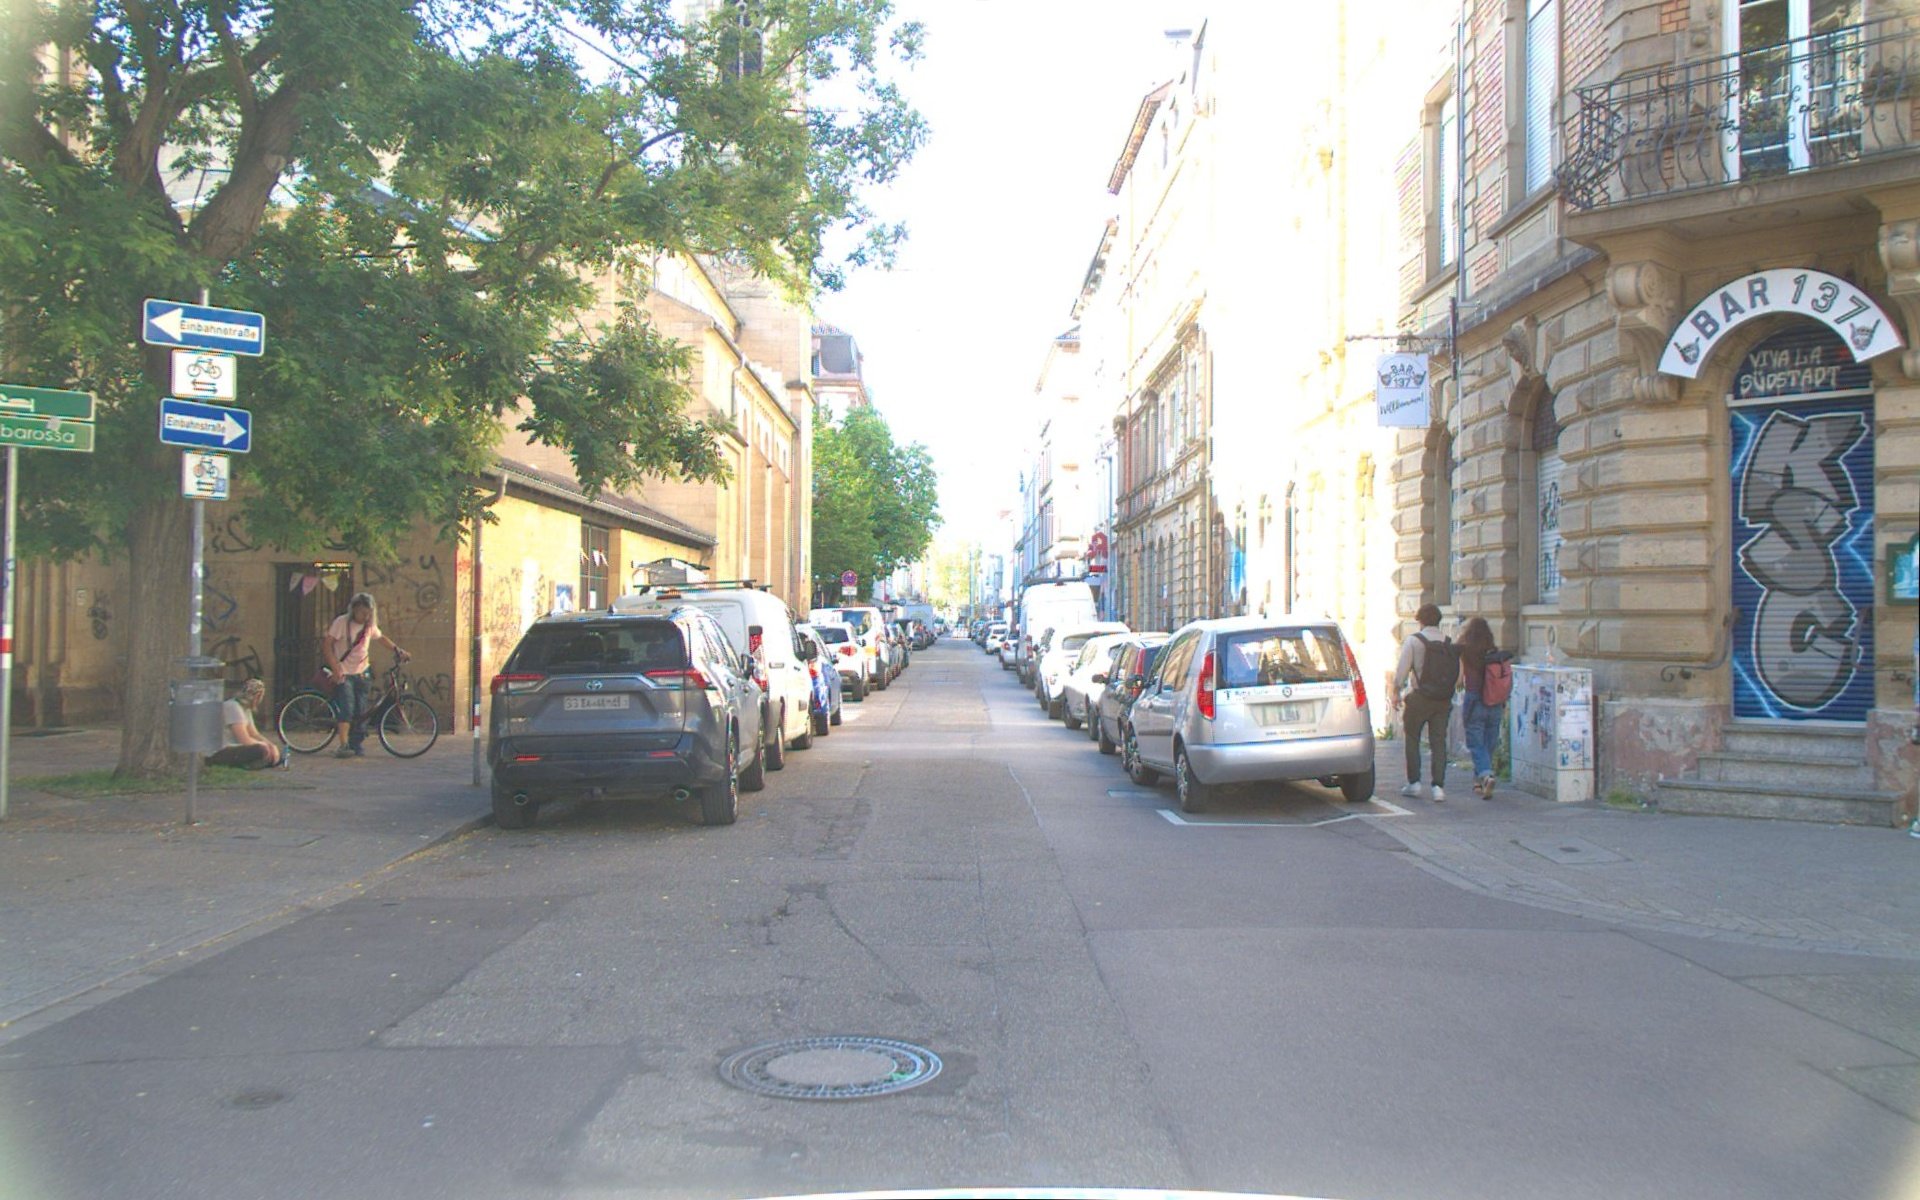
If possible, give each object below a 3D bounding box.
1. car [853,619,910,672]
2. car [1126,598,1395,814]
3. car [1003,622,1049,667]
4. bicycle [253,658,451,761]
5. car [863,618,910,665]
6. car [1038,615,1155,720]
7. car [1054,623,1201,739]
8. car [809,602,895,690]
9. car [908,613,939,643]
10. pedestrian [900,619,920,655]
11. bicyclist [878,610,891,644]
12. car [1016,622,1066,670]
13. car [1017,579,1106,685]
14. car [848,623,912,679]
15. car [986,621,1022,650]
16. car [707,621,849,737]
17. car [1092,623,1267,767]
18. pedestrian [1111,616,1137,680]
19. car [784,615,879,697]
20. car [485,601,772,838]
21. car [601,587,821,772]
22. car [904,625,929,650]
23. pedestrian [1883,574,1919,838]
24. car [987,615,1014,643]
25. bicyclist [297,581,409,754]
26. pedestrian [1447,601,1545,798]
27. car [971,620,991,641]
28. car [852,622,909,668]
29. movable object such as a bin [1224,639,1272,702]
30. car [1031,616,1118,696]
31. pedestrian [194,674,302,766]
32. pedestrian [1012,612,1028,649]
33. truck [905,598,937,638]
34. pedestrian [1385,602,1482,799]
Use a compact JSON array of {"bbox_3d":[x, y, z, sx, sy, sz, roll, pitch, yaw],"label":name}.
[{"bbox_3d":[-2.434,1.389,51.865,1.639,1.586,3.999,-1,-1,-1],"label":"car"},{"bbox_3d":[2.657,0.881,15.494,1.669,1.744,3.936,-1,-1,-2],"label":"car"},{"bbox_3d":[2.390,1.603,60.750,1.570,1.531,4.000,1,-1,1],"label":"car"},{"bbox_3d":[-6.391,1.136,17.427,1.724,0.939,0.827,3,-1,8],"label":"bicycle"},{"bbox_3d":[-2.728,1.528,61.949,1.567,1.642,3.807,-2,-1,-1],"label":"car"},{"bbox_3d":[2.399,1.178,30.040,1.770,1.719,4.214,2,-1,1],"label":"car"},{"bbox_3d":[2.473,1.172,25.246,1.541,1.552,3.905,2,-1,-4],"label":"car"},{"bbox_3d":[-2.608,1.096,40.876,1.826,1.991,4.609,-2,-1,-1],"label":"car"},{"bbox_3d":[-2.209,1.708,101.047,1.837,1.828,4.000,0,-1,0],"label":"car"},{"bbox_3d":[-2.607,1.923,85.915,0.766,1.875,1.012,1,-1,15],"label":"pedestrian"},{"bbox_3d":[-3.781,1.355,82.989,0.592,1.718,0.885,0,-1,0],"label":"bicyclist"},{"bbox_3d":[2.707,1.529,55.938,1.537,1.521,3.653,2,-1,1],"label":"car"},{"bbox_3d":[2.665,0.833,44.772,2.026,2.657,5.887,1,0,0],"label":"car"},{"bbox_3d":[-2.245,1.418,47.063,1.582,1.477,3.950,-2,-1,0],"label":"car"},{"bbox_3d":[2.372,1.907,89.306,1.858,1.514,3.869,0,-1,0],"label":"car"},{"bbox_3d":[-2.610,1.104,24.460,1.653,1.502,3.859,-2,0,-1],"label":"car"},{"bbox_3d":[2.559,1.071,20.008,1.504,1.539,3.680,-1,-1,-2],"label":"car"},{"bbox_3d":[4.655,1.354,46.982,0.627,1.803,0.678,2,-1,-2],"label":"pedestrian"},{"bbox_3d":[-2.665,1.142,35.038,1.706,1.614,3.868,0,-1,0],"label":"car"},{"bbox_3d":[-2.593,0.865,13.891,1.705,1.675,4.287,0,-1,-2],"label":"car"},{"bbox_3d":[-2.739,0.821,19.176,1.807,1.895,4.465,0,0,1],"label":"car"},{"bbox_3d":[-3.251,2.755,123.043,1.837,1.828,3.998,0,-1,-2],"label":"car"},{"bbox_3d":[6.713,0.703,11.230,0.648,1.763,0.576,-1,0,19],"label":"pedestrian"},{"bbox_3d":[2.690,1.915,109.769,1.733,1.771,4.000,0,0,0],"label":"car"},{"bbox_3d":[-6.389,0.700,17.436,0.788,1.753,0.692,3,-1,8],"label":"bicyclist"},{"bbox_3d":[4.635,0.844,14.335,0.562,1.650,0.734,-1,0,-2],"label":"pedestrian"},{"bbox_3d":[2.080,3.047,165.574,1.952,2.049,4.000,0,-1,0],"label":"car"},{"bbox_3d":[-2.710,1.525,57.019,1.537,1.422,3.809,-3,-1,2],"label":"car"},{"bbox_3d":[5.090,1.248,29.263,0.543,1.071,0.597,-2,-1,-33],"label":"movable object such as a bin"},{"bbox_3d":[2.473,1.188,36.434,1.652,1.671,3.924,0,-1,0],"label":"car"},{"bbox_3d":[-6.649,1.108,15.462,0.904,0.792,0.697,0,-1,-24],"label":"pedestrian"},{"bbox_3d":[3.044,1.559,84.098,0.669,1.875,0.692,1,-1,-11],"label":"pedestrian"},{"bbox_3d":[-3.231,1.520,139.502,2.480,3.339,6.994,0,-1,0],"label":"truck"},{"bbox_3d":[4.052,0.840,14.195,0.579,1.632,0.727,-1,0,-2],"label":"pedestrian"}]
